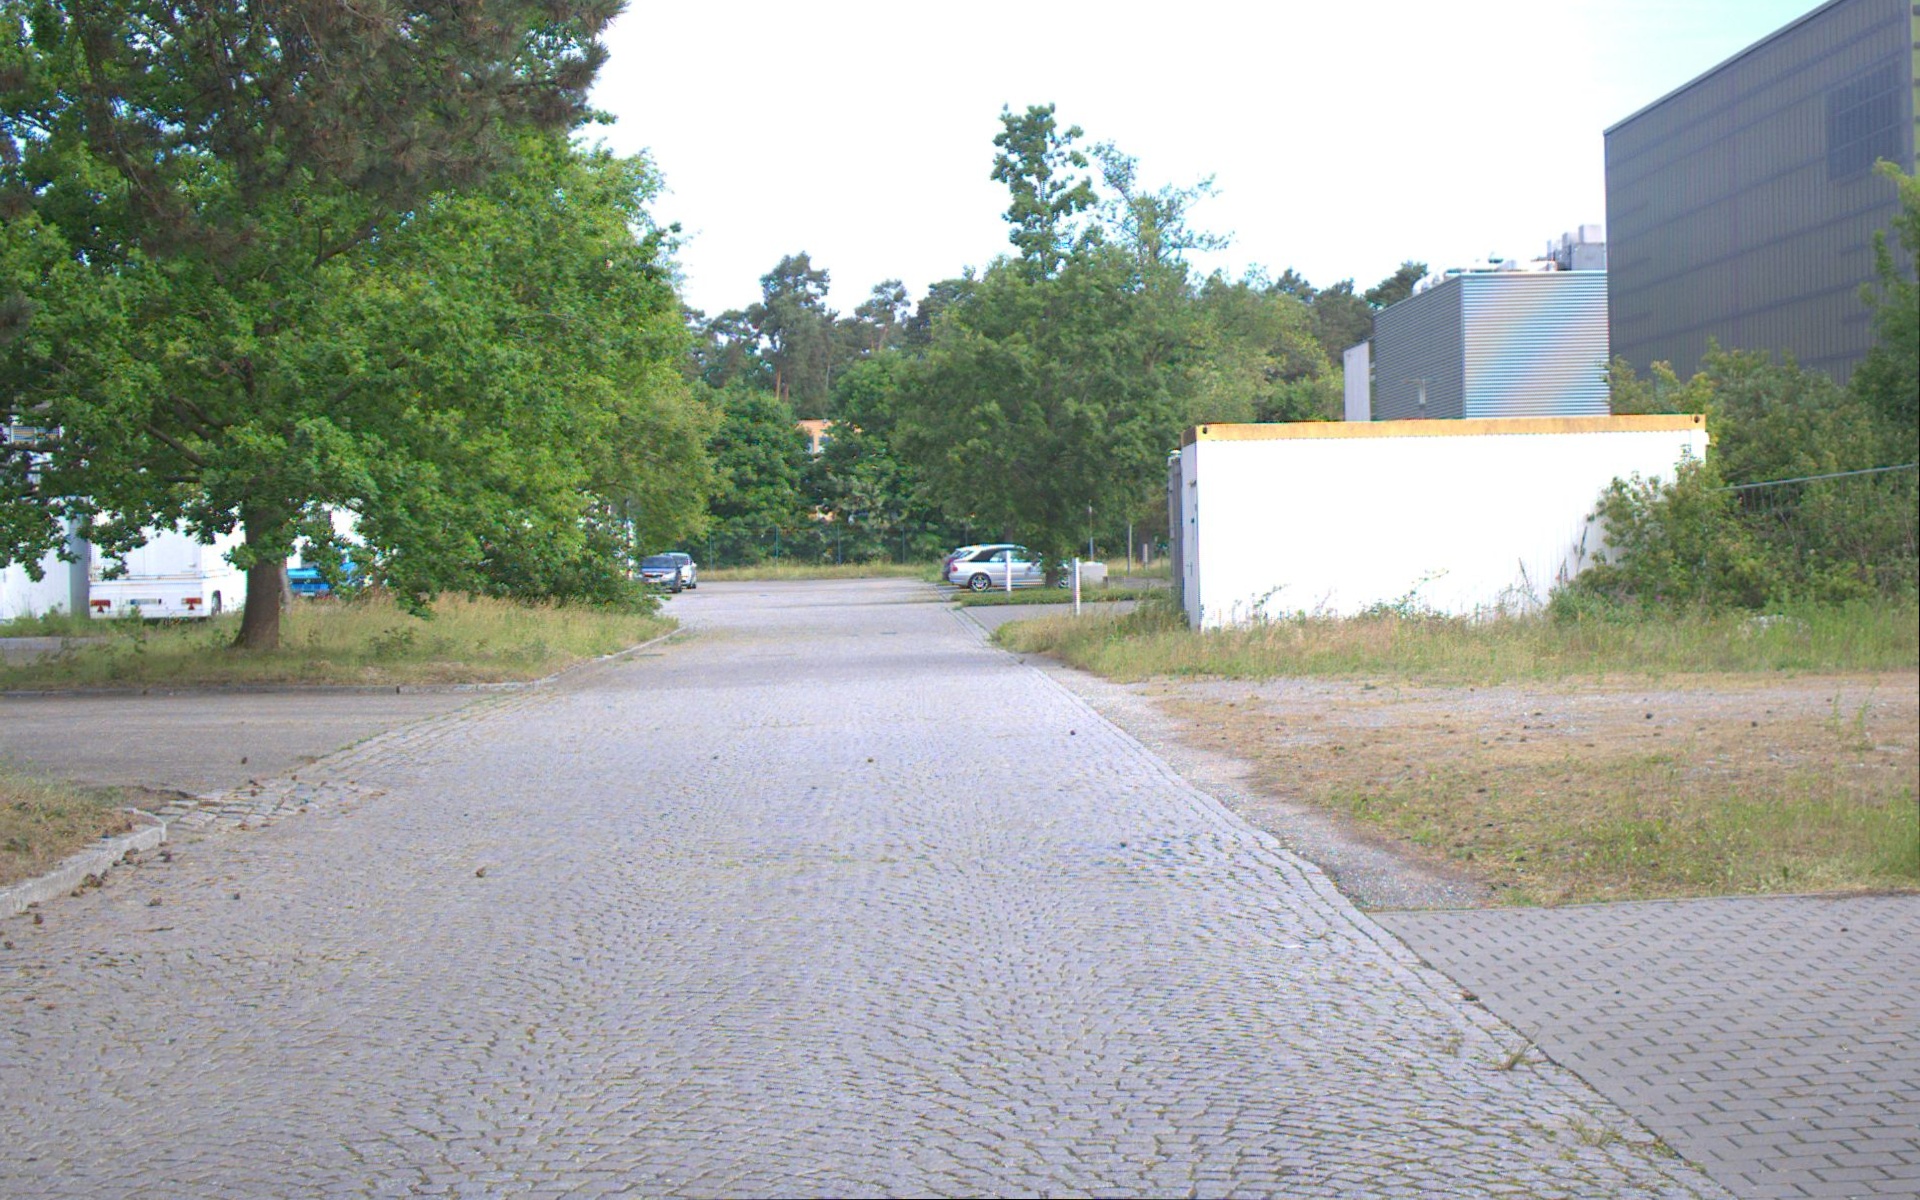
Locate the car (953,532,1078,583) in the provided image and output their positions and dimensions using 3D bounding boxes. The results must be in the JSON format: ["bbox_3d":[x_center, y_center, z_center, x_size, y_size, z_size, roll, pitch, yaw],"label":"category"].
[{"bbox_3d":[1.798,-1.386,112.741,3.984,1.443,1.653,-3,1,-1],"label":"car"}]

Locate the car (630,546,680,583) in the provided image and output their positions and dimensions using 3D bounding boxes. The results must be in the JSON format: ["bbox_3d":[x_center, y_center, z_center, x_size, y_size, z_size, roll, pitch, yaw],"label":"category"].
[{"bbox_3d":[-11.634,-1.382,131.379,1.647,1.364,3.998,-1,1,-1],"label":"car"}]

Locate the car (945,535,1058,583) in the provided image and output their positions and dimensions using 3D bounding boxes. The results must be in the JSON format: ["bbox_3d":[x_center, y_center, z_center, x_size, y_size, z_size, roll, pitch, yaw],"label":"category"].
[{"bbox_3d":[1.325,-1.313,110.039,3.522,1.357,1.622,-3,1,-1],"label":"car"}]

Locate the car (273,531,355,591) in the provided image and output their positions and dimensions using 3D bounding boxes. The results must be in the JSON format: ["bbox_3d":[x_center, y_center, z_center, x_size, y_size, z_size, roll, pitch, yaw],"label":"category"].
[{"bbox_3d":[-22.364,-1.361,119.159,1.993,2.007,4.768,-1,1,-1],"label":"car"}]

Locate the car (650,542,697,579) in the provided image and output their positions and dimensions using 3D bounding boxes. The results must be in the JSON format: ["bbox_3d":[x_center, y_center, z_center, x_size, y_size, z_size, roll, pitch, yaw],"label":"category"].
[{"bbox_3d":[-11.797,-1.629,141.719,1.647,1.453,3.998,-1,1,-1],"label":"car"}]

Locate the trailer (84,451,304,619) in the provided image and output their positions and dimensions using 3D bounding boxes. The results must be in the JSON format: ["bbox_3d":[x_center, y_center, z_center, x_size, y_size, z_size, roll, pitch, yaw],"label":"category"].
[{"bbox_3d":[-17.571,-1.501,79.561,2.625,3.585,10.177,-1,1,1],"label":"trailer"}]
